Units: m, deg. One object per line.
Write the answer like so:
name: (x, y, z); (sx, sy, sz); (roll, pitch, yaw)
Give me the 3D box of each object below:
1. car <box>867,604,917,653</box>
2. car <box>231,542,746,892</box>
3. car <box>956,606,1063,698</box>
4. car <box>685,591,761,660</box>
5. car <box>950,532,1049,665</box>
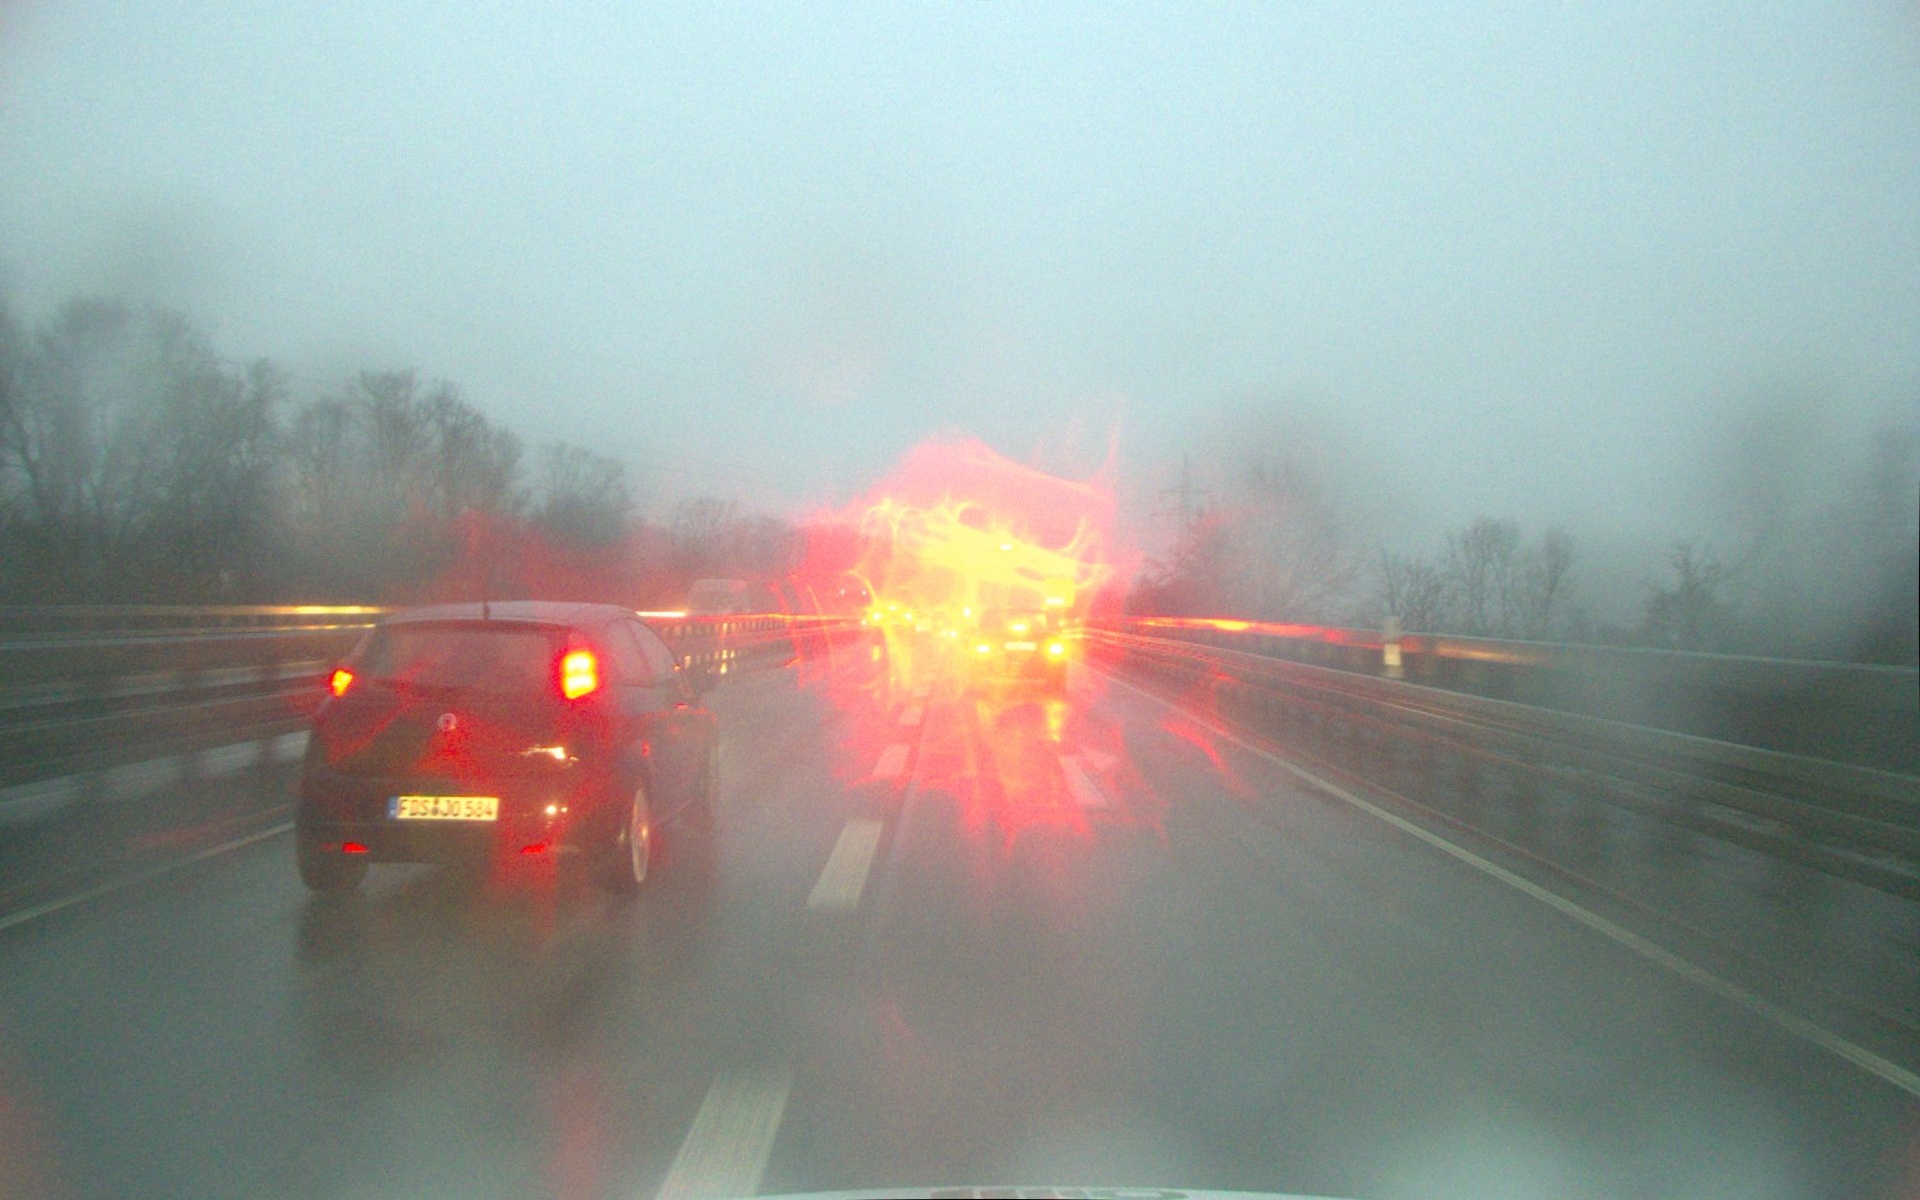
car: (-2.813, 1.160, 68.941); (1.953, 1.846, 3.999); (3, 0, -2)
car: (-2.364, 0.579, 9.409); (1.694, 1.560, 4.042); (0, -2, 1)
car: (0.873, 0.872, 29.462); (1.700, 1.439, 4.378); (3, 0, 1)
car: (-8.280, 0.900, 58.195); (2.008, 2.303, 5.206); (0, -1, -1)
car: (0.897, 0.031, 40.743); (2.235, 3.018, 6.389); (0, -1, 0)
